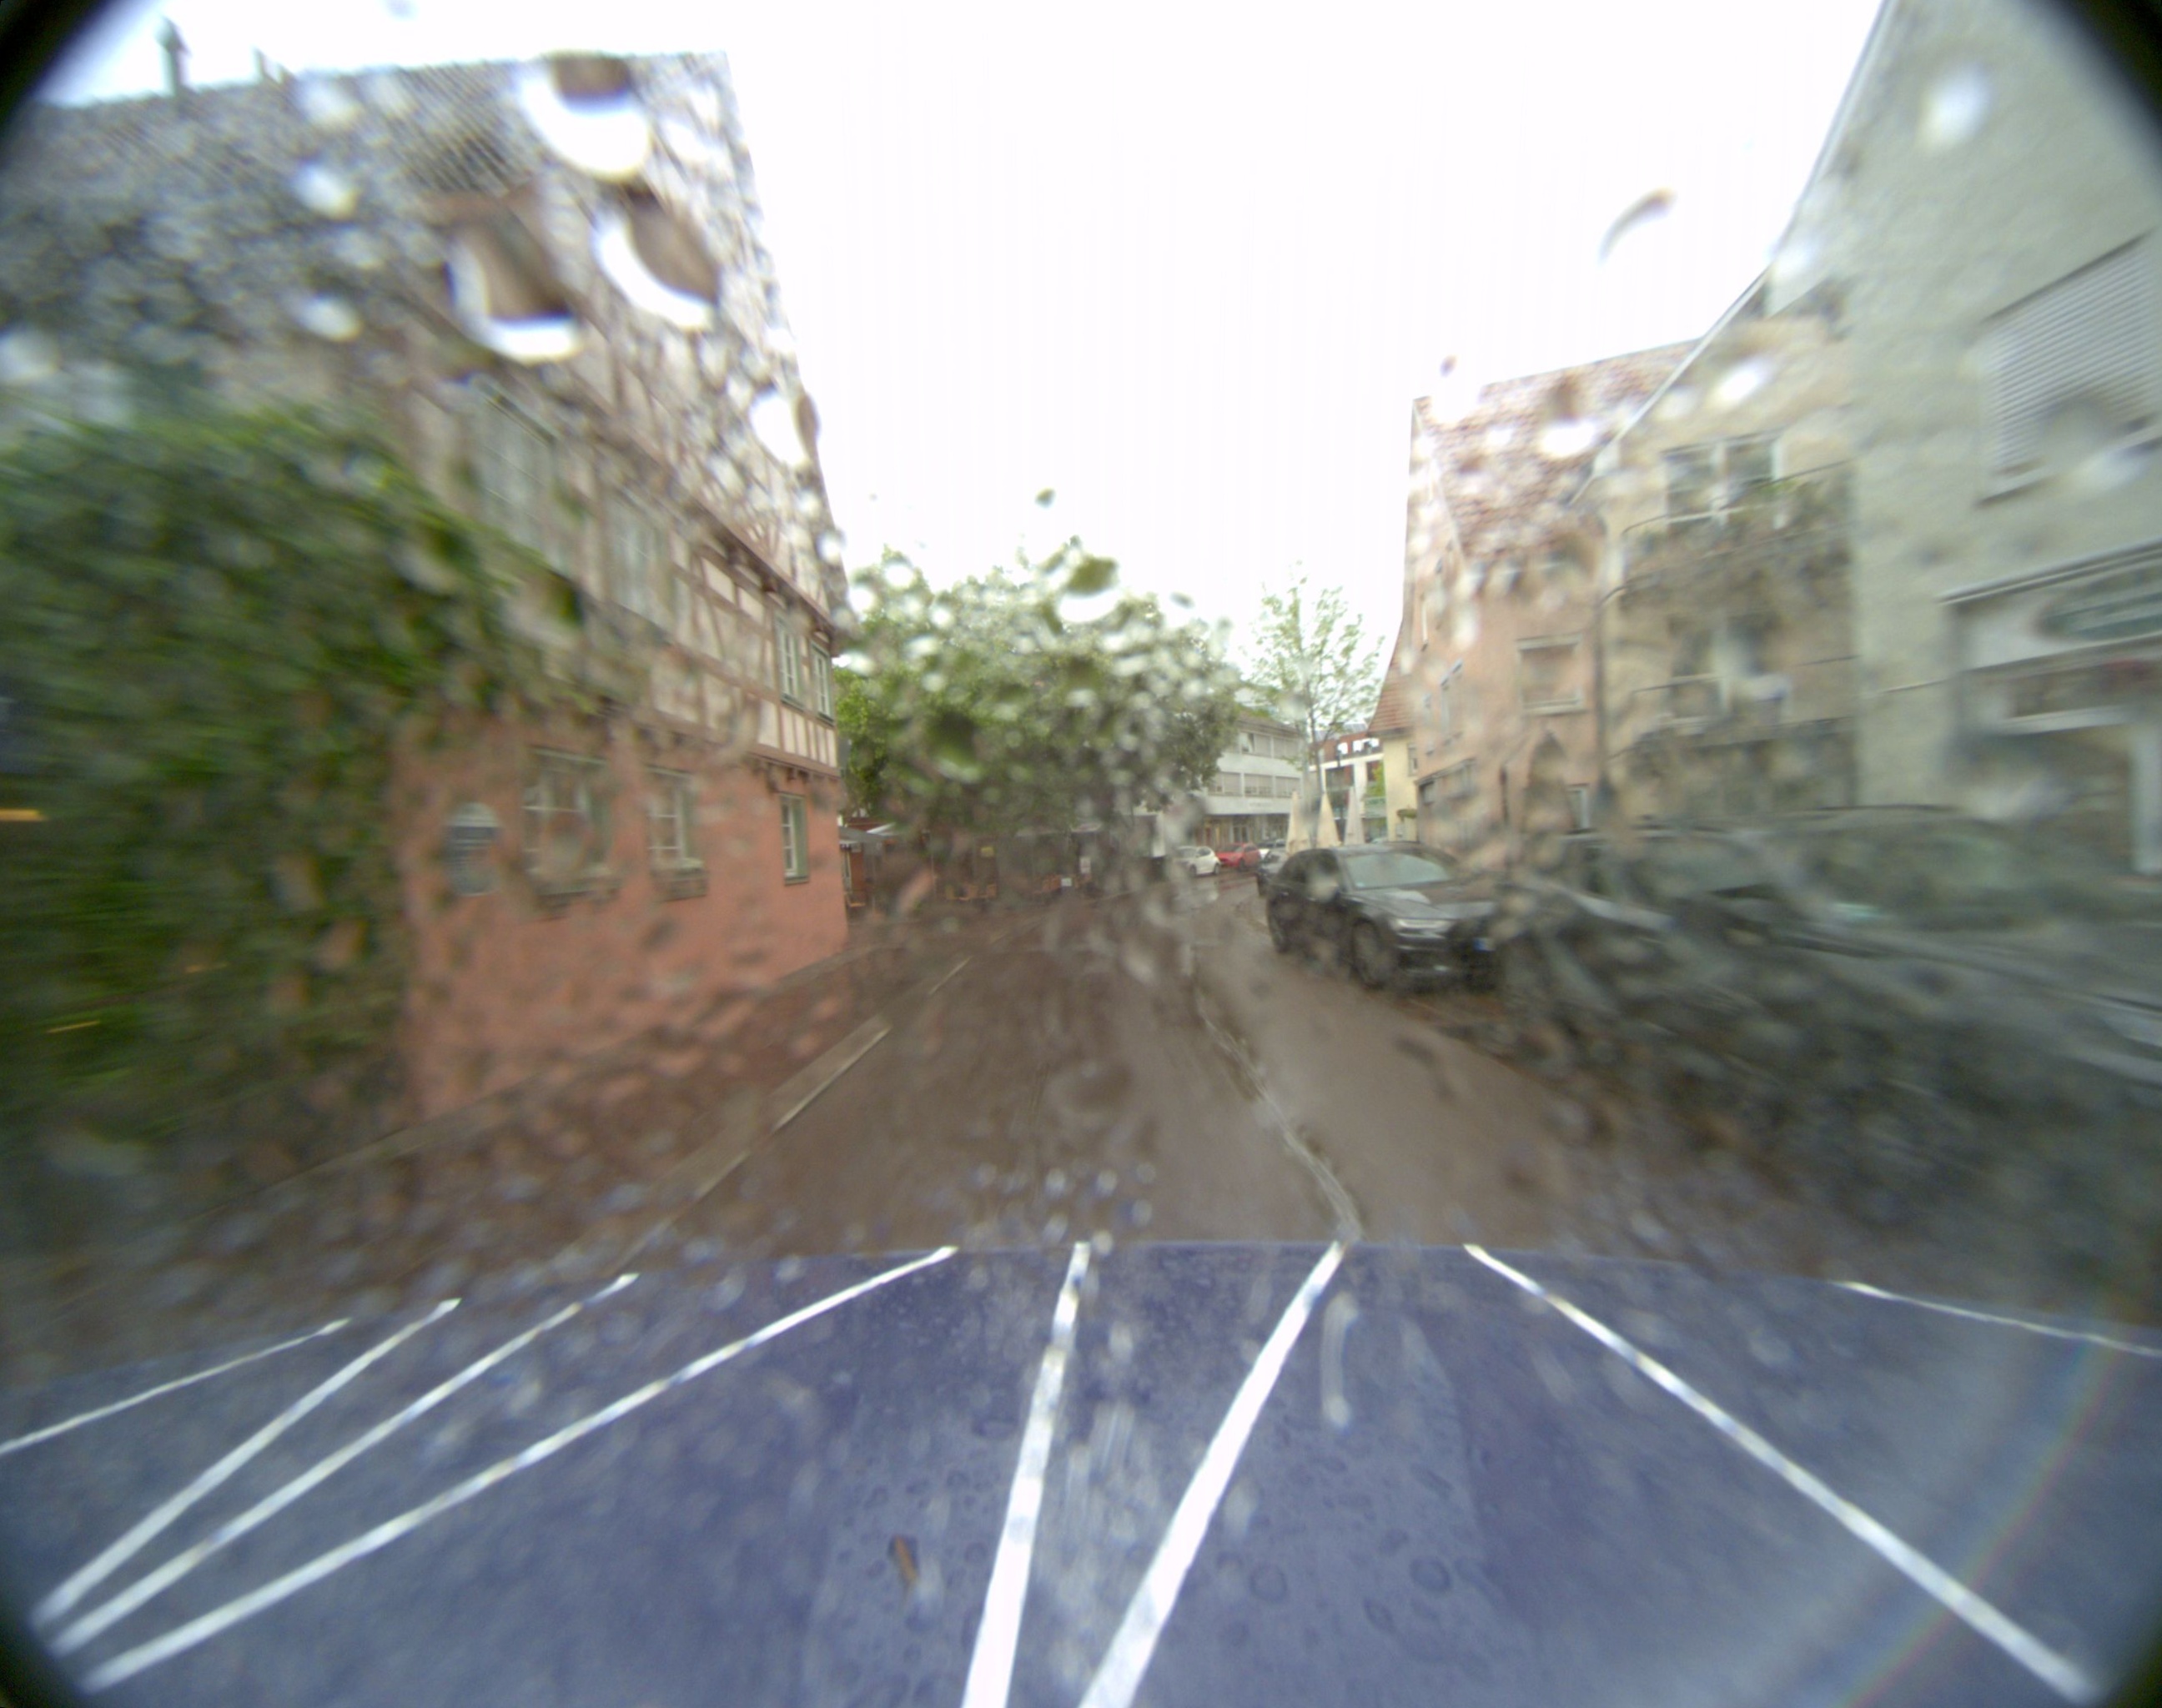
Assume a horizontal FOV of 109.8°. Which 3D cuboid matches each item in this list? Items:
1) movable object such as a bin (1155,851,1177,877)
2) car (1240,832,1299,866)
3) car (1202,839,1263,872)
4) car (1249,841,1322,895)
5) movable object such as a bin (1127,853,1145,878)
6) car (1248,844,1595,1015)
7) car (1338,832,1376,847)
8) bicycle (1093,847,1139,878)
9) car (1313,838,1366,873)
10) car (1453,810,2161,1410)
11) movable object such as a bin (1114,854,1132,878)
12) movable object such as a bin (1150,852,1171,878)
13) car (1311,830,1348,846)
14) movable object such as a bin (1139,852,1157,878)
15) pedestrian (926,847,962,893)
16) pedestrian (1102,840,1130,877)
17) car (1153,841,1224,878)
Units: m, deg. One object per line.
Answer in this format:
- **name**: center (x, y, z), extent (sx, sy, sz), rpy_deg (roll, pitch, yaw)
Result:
- **movable object such as a bin**: center (3.886, 0.453, 34.704), extent (0.726, 1.087, 0.611), rpy_deg (-3, 3, 25)
- **car**: center (11.539, -0.326, 46.310), extent (1.788, 1.630, 4.446), rpy_deg (-3, 3, 37)
- **car**: center (8.359, 0.048, 41.636), extent (1.789, 1.460, 3.955), rpy_deg (-3, 3, 34)
- **car**: center (6.840, 0.405, 25.110), extent (1.877, 1.531, 4.406), rpy_deg (-4, 0, 20)
- **movable object such as a bin**: center (2.515, 0.518, 34.850), extent (0.538, 1.124, 0.729), rpy_deg (-1, 2, 31)
- **car**: center (3.631, 0.685, 9.252), extent (1.867, 1.433, 4.617), rpy_deg (-4, 0, -3)
- **car**: center (29.329, -1.507, 80.828), extent (1.681, 1.428, 3.578), rpy_deg (-5, 2, -23)
- **bicycle**: center (1.706, 0.387, 36.463), extent (0.925, 1.343, 2.220), rpy_deg (0, 3, 44)
- **car**: center (12.076, 0.057, 35.349), extent (1.851, 1.443, 4.079), rpy_deg (-3, 0, 25)
- **car**: center (3.842, 0.644, 3.783), extent (1.866, 1.515, 4.328), rpy_deg (-5, 0, 2)
- **movable object such as a bin**: center (1.955, 0.542, 35.321), extent (0.538, 1.077, 0.729), rpy_deg (-1, 2, 31)
- **movable object such as a bin**: center (3.560, 0.500, 34.108), extent (0.726, 1.077, 0.605), rpy_deg (-3, 3, 25)
- **car**: center (27.898, -1.775, 85.341), extent (1.805, 1.546, 3.914), rpy_deg (-5, 2, -21)
- **movable object such as a bin**: center (3.044, 0.507, 34.526), extent (0.538, 1.136, 0.729), rpy_deg (-1, 2, 31)
- **pedestrian**: center (-5.313, 0.633, 29.554), extent (0.891, 1.704, 0.885), rpy_deg (-7, 4, -44)
- **pedestrian**: center (1.660, 0.224, 36.404), extent (0.910, 1.689, 0.863), rpy_deg (0, 4, 44)
- **car**: center (5.315, 0.243, 37.188), extent (1.788, 1.547, 3.956), rpy_deg (-2, 2, 34)
